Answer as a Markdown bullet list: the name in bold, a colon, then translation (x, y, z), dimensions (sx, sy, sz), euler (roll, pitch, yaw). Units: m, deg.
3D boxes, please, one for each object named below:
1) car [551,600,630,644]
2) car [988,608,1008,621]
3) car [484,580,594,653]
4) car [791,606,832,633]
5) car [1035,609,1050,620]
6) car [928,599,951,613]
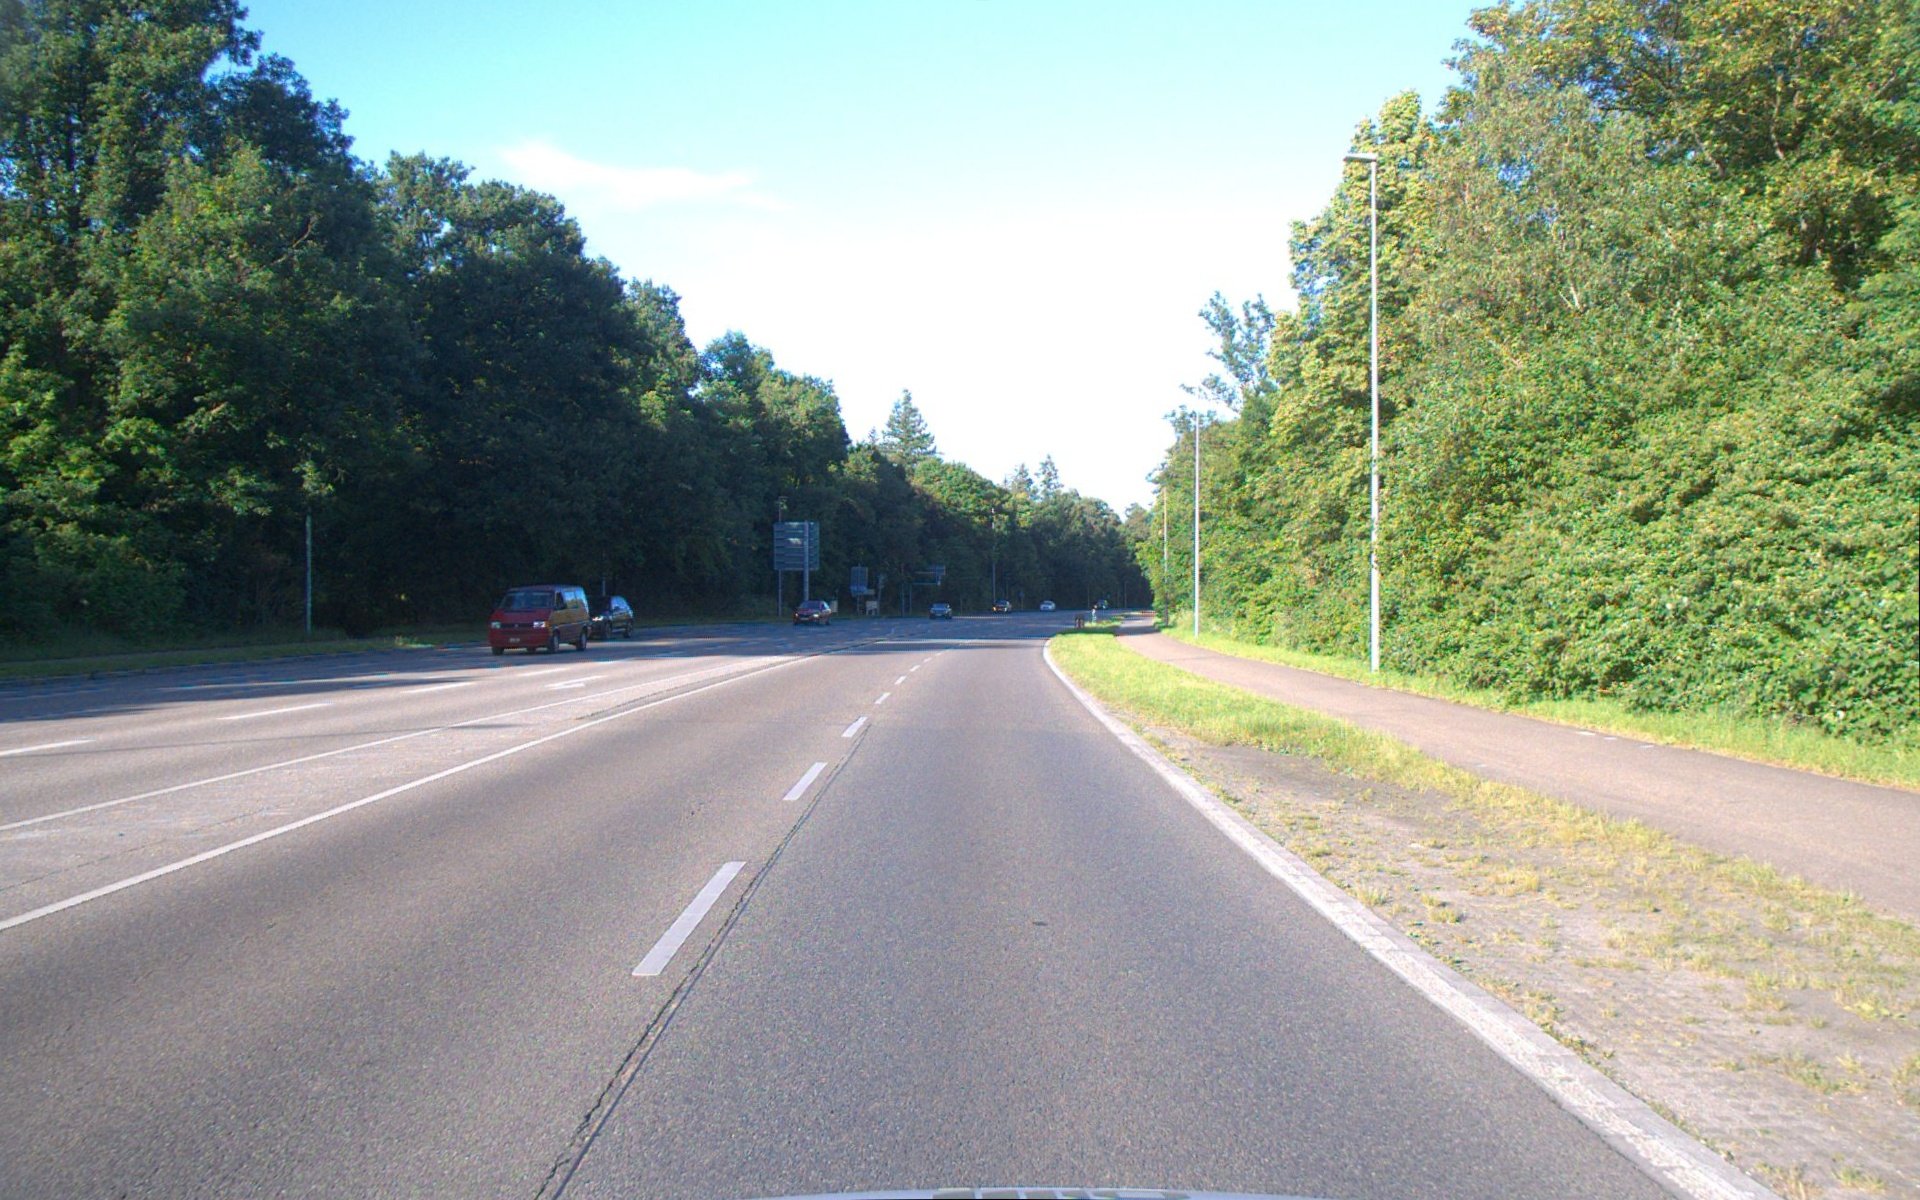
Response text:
- **car**: translation (-14.472, 0.858, 65.016), dimensions (1.952, 1.665, 4.844), euler (0, 0, 1)
- **car**: translation (4.586, 1.719, 197.438), dimensions (1.786, 1.572, 4.260), euler (1, 0, 9)
- **car**: translation (-12.187, 0.481, 48.131), dimensions (1.952, 1.996, 4.648), euler (-1, -1, 1)
- **car**: translation (-9.027, 1.172, 100.941), dimensions (1.952, 1.591, 4.339), euler (0, 0, 2)
- **car**: translation (11.819, 2.023, 237.490), dimensions (1.786, 1.530, 4.309), euler (1, 0, 7)
- **car**: translation (-1.802, 0.530, 144.919), dimensions (1.707, 1.256, 4.675), euler (0, 0, 2)
